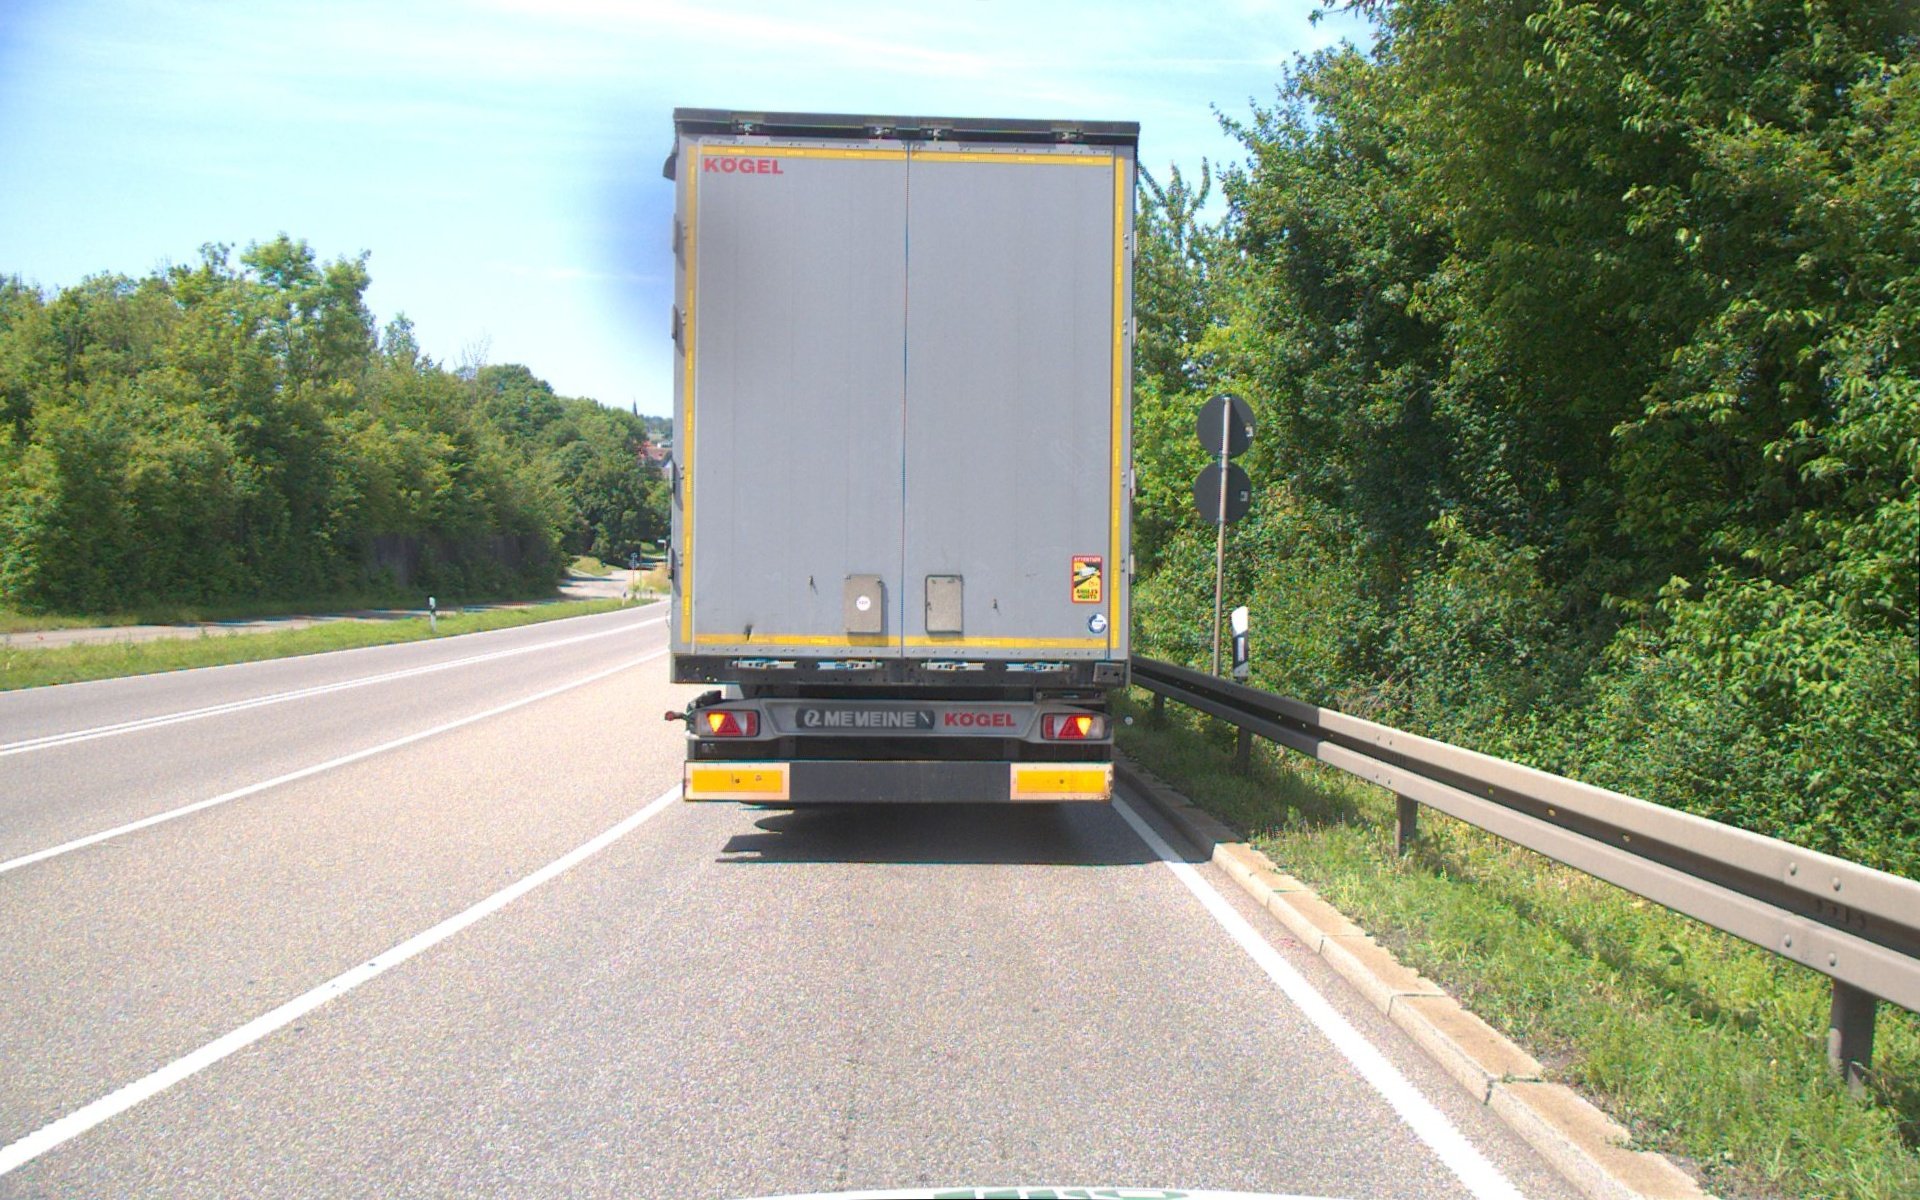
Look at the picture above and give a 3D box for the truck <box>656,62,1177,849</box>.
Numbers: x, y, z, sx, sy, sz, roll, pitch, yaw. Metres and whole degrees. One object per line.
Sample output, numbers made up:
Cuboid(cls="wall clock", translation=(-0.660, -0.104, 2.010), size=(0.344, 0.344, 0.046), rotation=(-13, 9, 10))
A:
Cuboid(cls="truck", translation=(-0.387, -0.799, 14.654), size=(2.701, 4.100, 11.920), rotation=(1, 0, -2))
